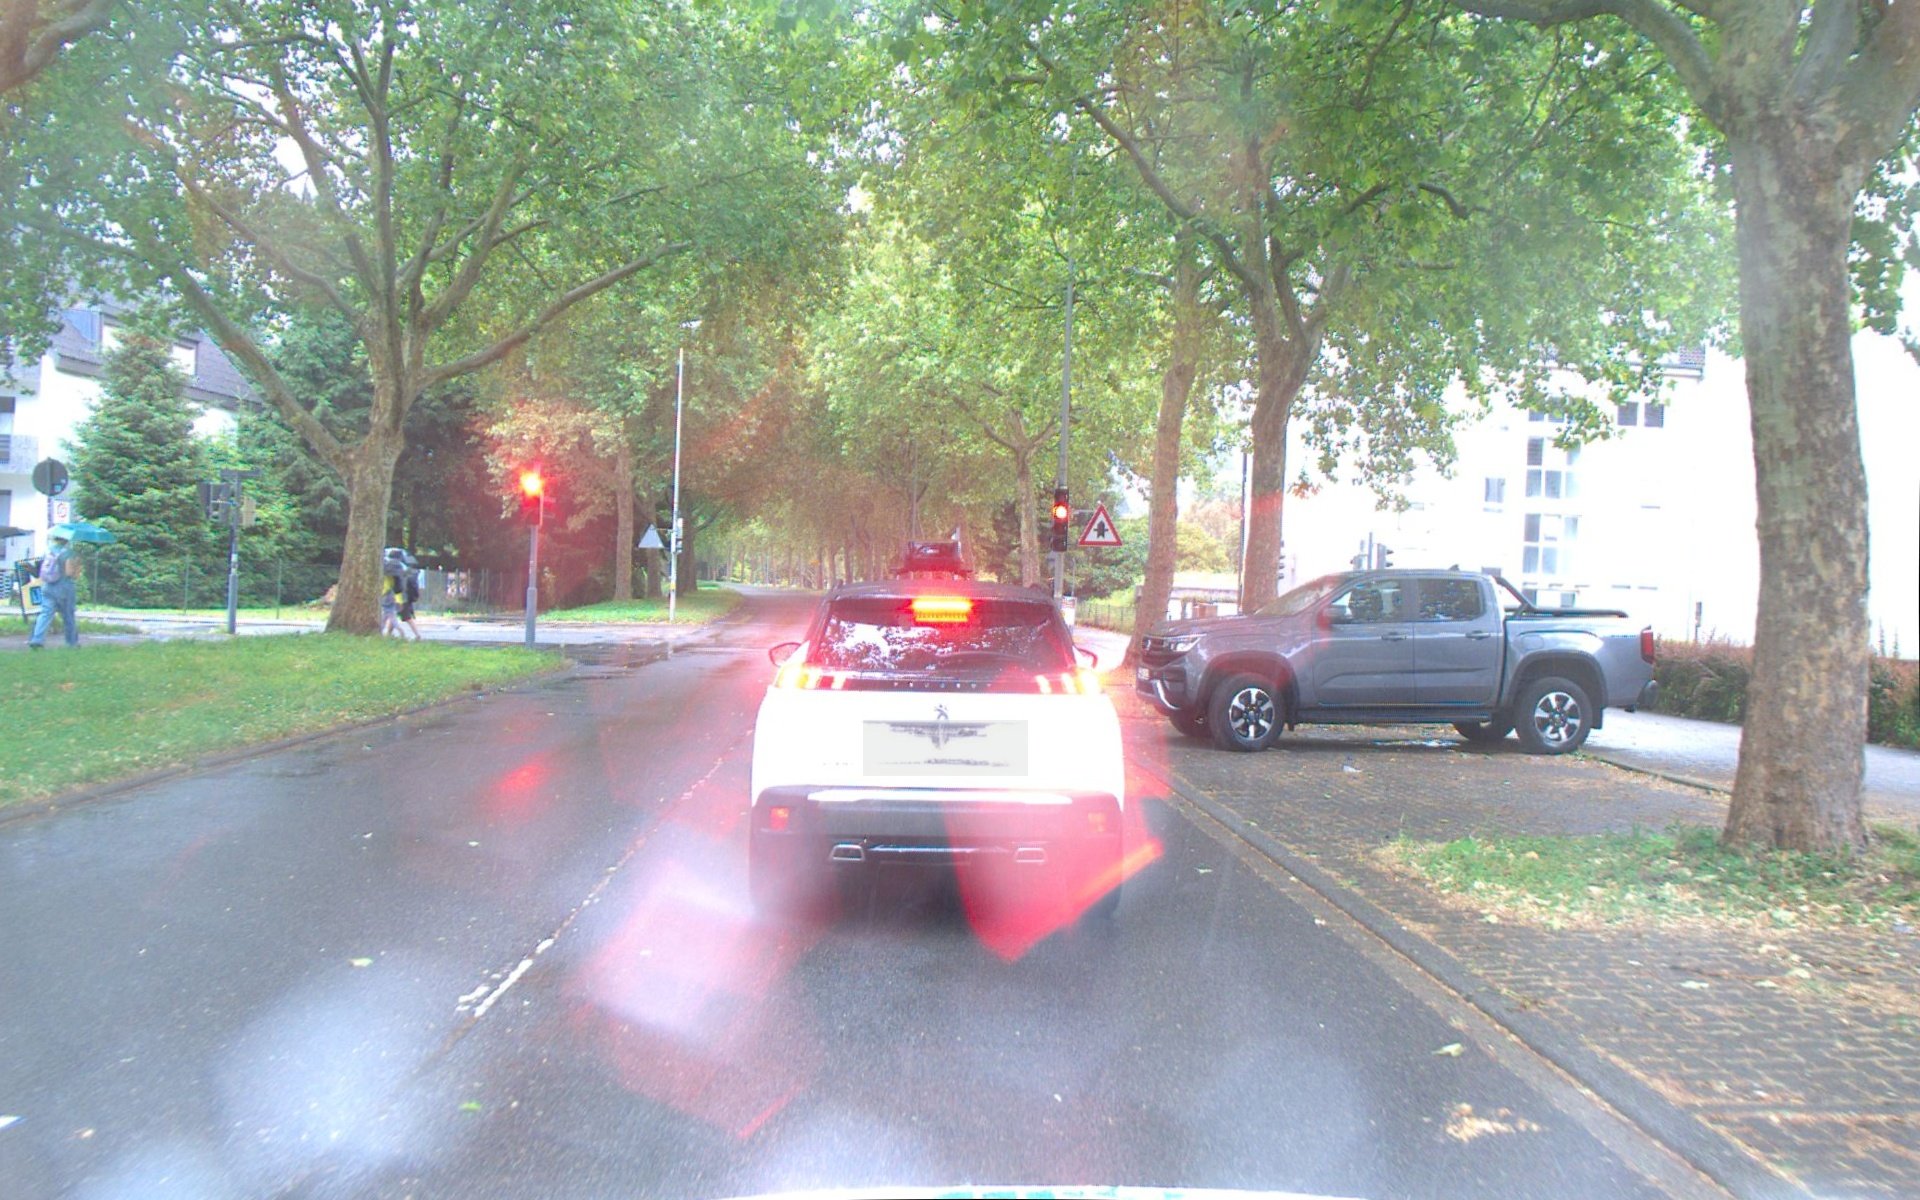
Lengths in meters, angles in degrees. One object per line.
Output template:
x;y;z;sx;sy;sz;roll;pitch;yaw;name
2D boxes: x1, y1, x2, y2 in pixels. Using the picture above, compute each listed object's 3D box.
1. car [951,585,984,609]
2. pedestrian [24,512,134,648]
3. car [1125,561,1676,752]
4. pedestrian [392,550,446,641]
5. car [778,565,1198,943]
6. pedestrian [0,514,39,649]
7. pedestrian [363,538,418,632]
0.509;-0.195;112.963;1.868;1.536;3.928;2;0;-5;car
-12.016;-0.272;22.582;1.012;1.796;0.838;1;0;-1;pedestrian
4.485;0.560;17.180;5.238;1.838;1.842;1;0;-8;car
-10.851;-0.086;33.192;0.842;1.775;0.639;2;0;-4;pedestrian
0.079;0.633;9.043;1.744;1.563;4.056;1;1;-1;car
-13.294;-0.266;22.488;1.012;1.796;0.879;1;0;-1;pedestrian
-11.037;-0.298;32.070;0.804;1.775;0.639;2;0;-4;pedestrian
